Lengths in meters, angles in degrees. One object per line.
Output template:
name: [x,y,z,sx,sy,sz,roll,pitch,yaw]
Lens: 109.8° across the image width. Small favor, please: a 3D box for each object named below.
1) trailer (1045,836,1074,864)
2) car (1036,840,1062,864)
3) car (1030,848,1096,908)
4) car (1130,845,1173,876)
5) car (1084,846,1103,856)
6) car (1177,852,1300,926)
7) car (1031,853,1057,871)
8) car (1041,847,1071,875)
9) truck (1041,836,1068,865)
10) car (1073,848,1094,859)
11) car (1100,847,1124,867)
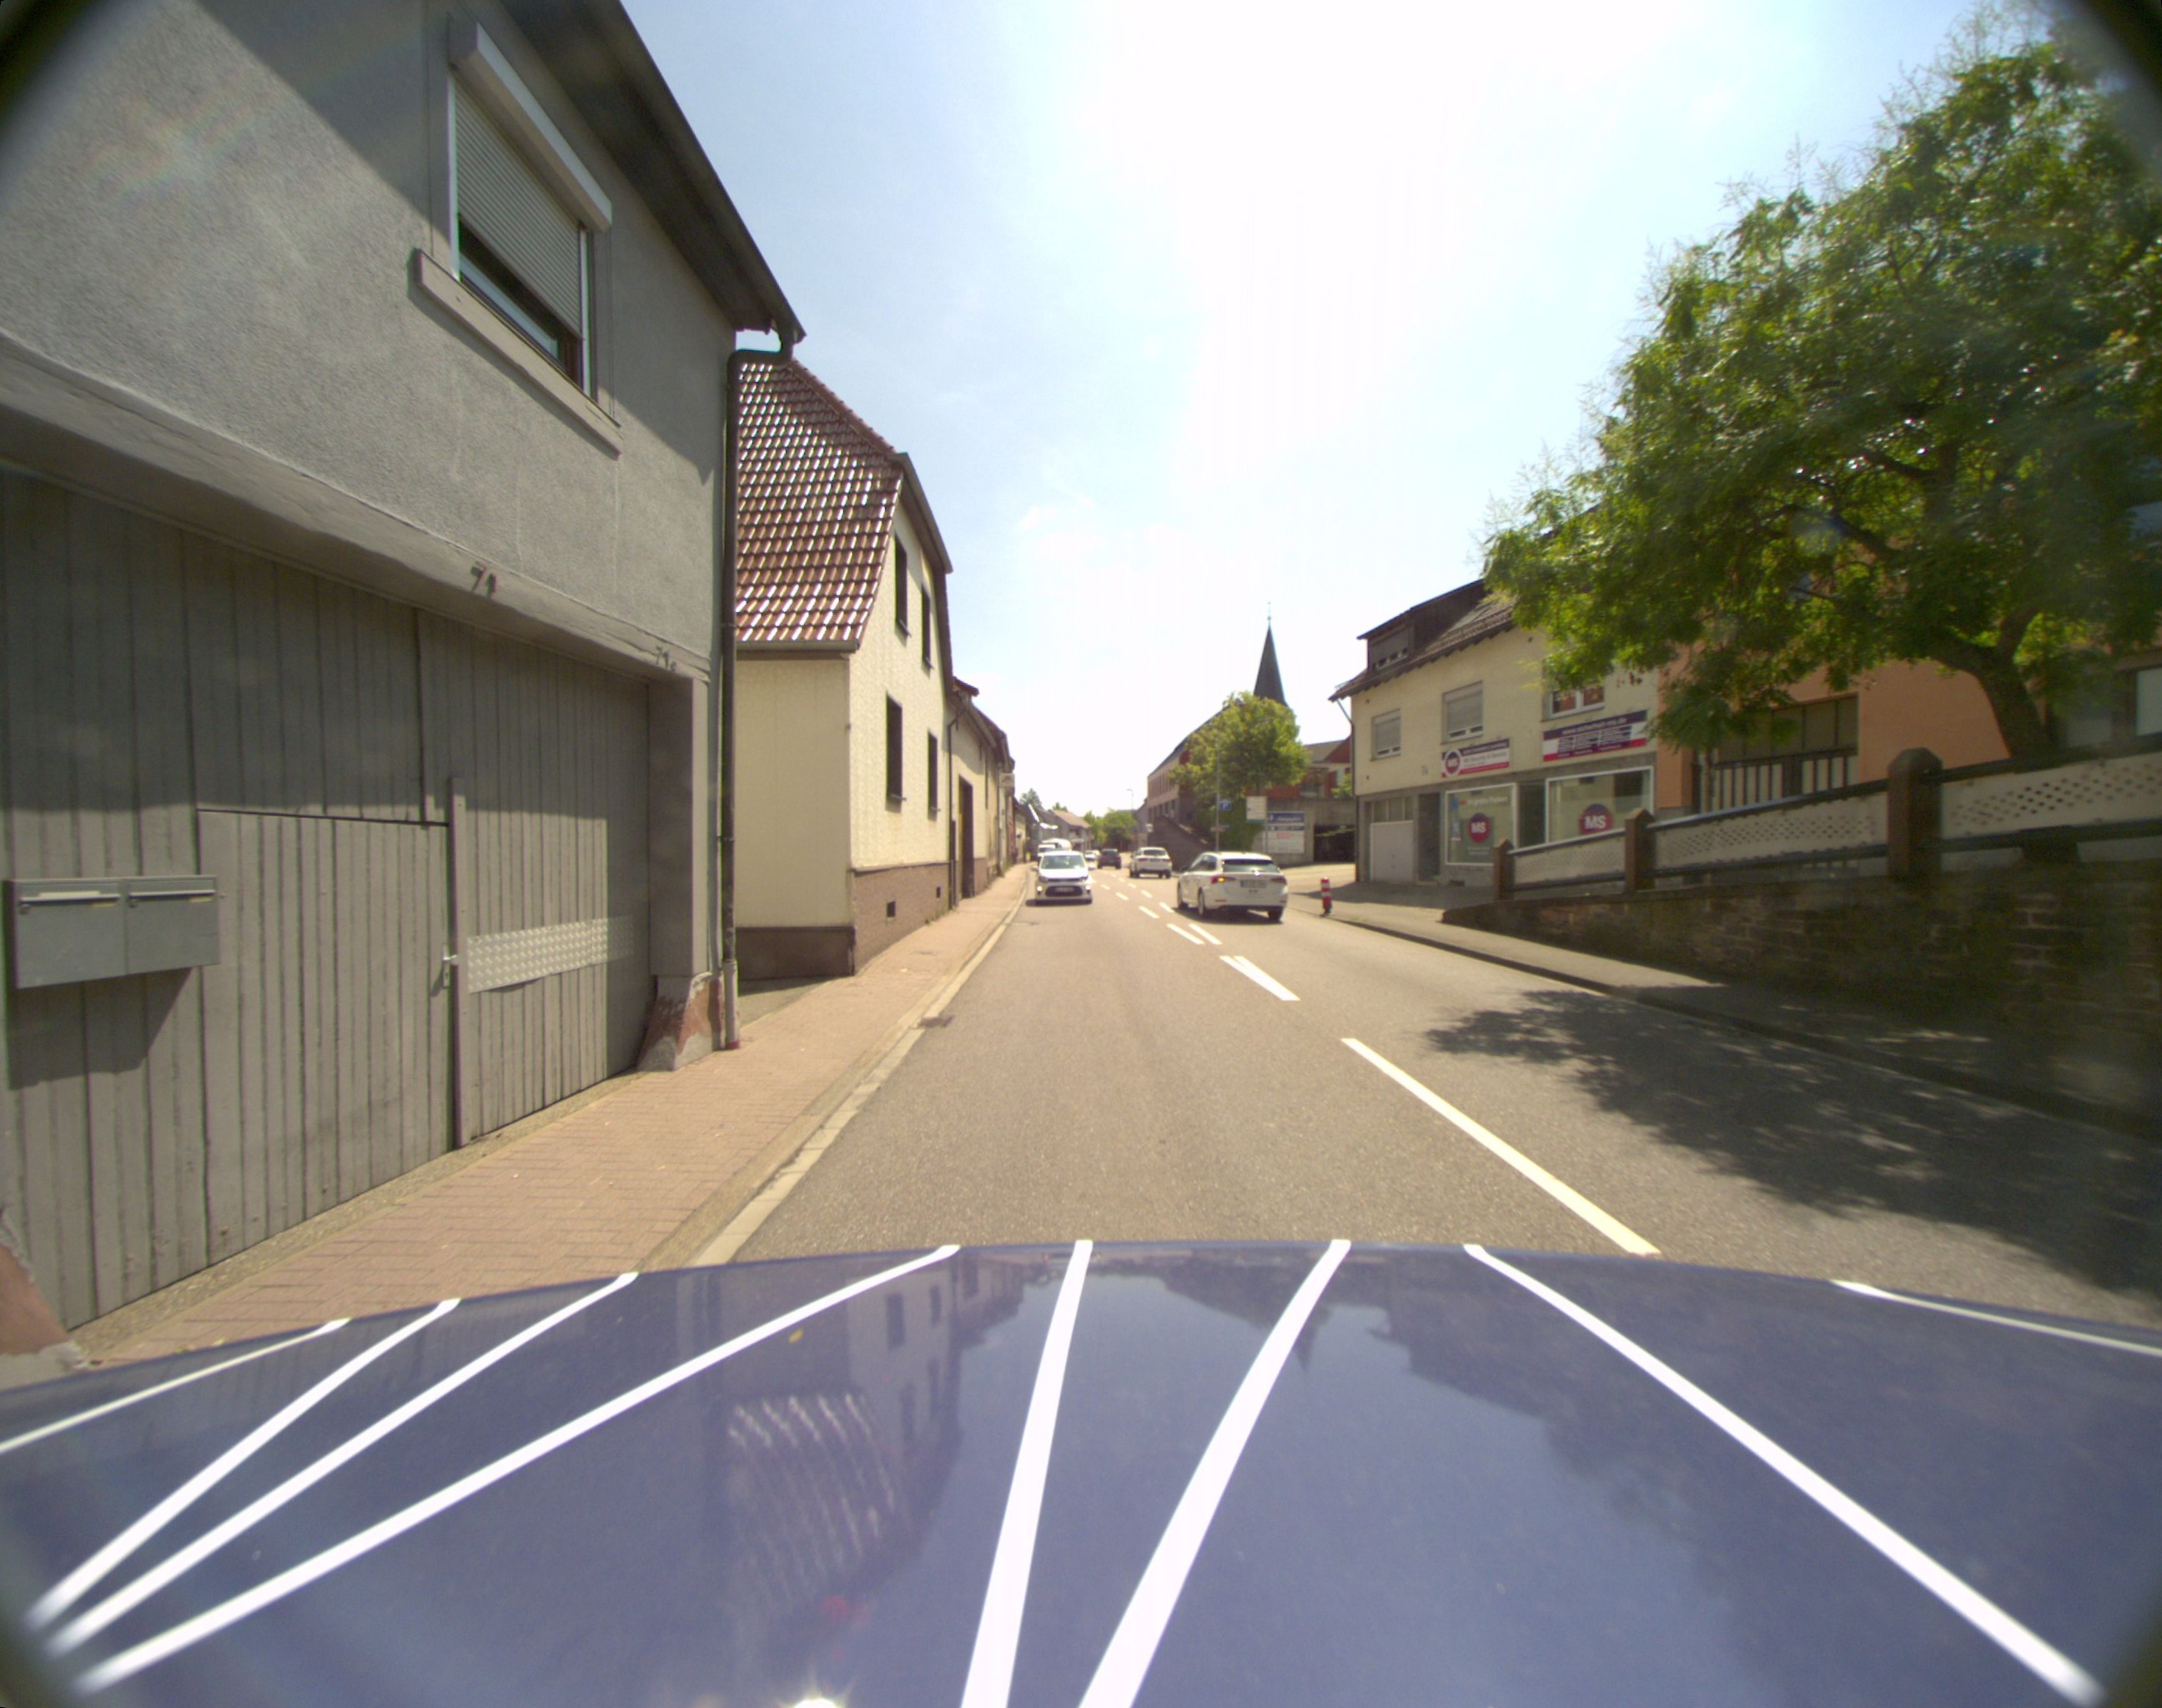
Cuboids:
trailer: [-2.858,-0.587,104.505,2.837,3.549,10.967,-1,1,4]
car: [-3.515,-0.279,84.329,2.174,2.549,4.825,-1,1,5]
car: [-0.461,0.638,22.802,1.724,1.542,4.303,-2,1,1]
car: [3.764,0.306,41.157,1.847,1.571,4.444,0,1,-1]
car: [2.100,-0.521,127.424,2.009,1.621,4.583,-1,1,16]
car: [3.430,0.692,17.441,1.818,1.438,4.429,0,1,-1]
car: [-3.107,0.659,63.582,1.930,1.358,4.301,-3,1,-5]
car: [-1.552,0.397,46.677,1.725,1.542,4.301,-2,1,-2]
truck: [-3.372,-0.488,97.658,2.847,3.549,5.469,-1,1,4]
car: [0.407,-0.129,118.150,2.009,1.621,4.582,-1,1,15]
car: [2.587,0.227,63.870,1.762,1.626,4.048,0,1,-1]
